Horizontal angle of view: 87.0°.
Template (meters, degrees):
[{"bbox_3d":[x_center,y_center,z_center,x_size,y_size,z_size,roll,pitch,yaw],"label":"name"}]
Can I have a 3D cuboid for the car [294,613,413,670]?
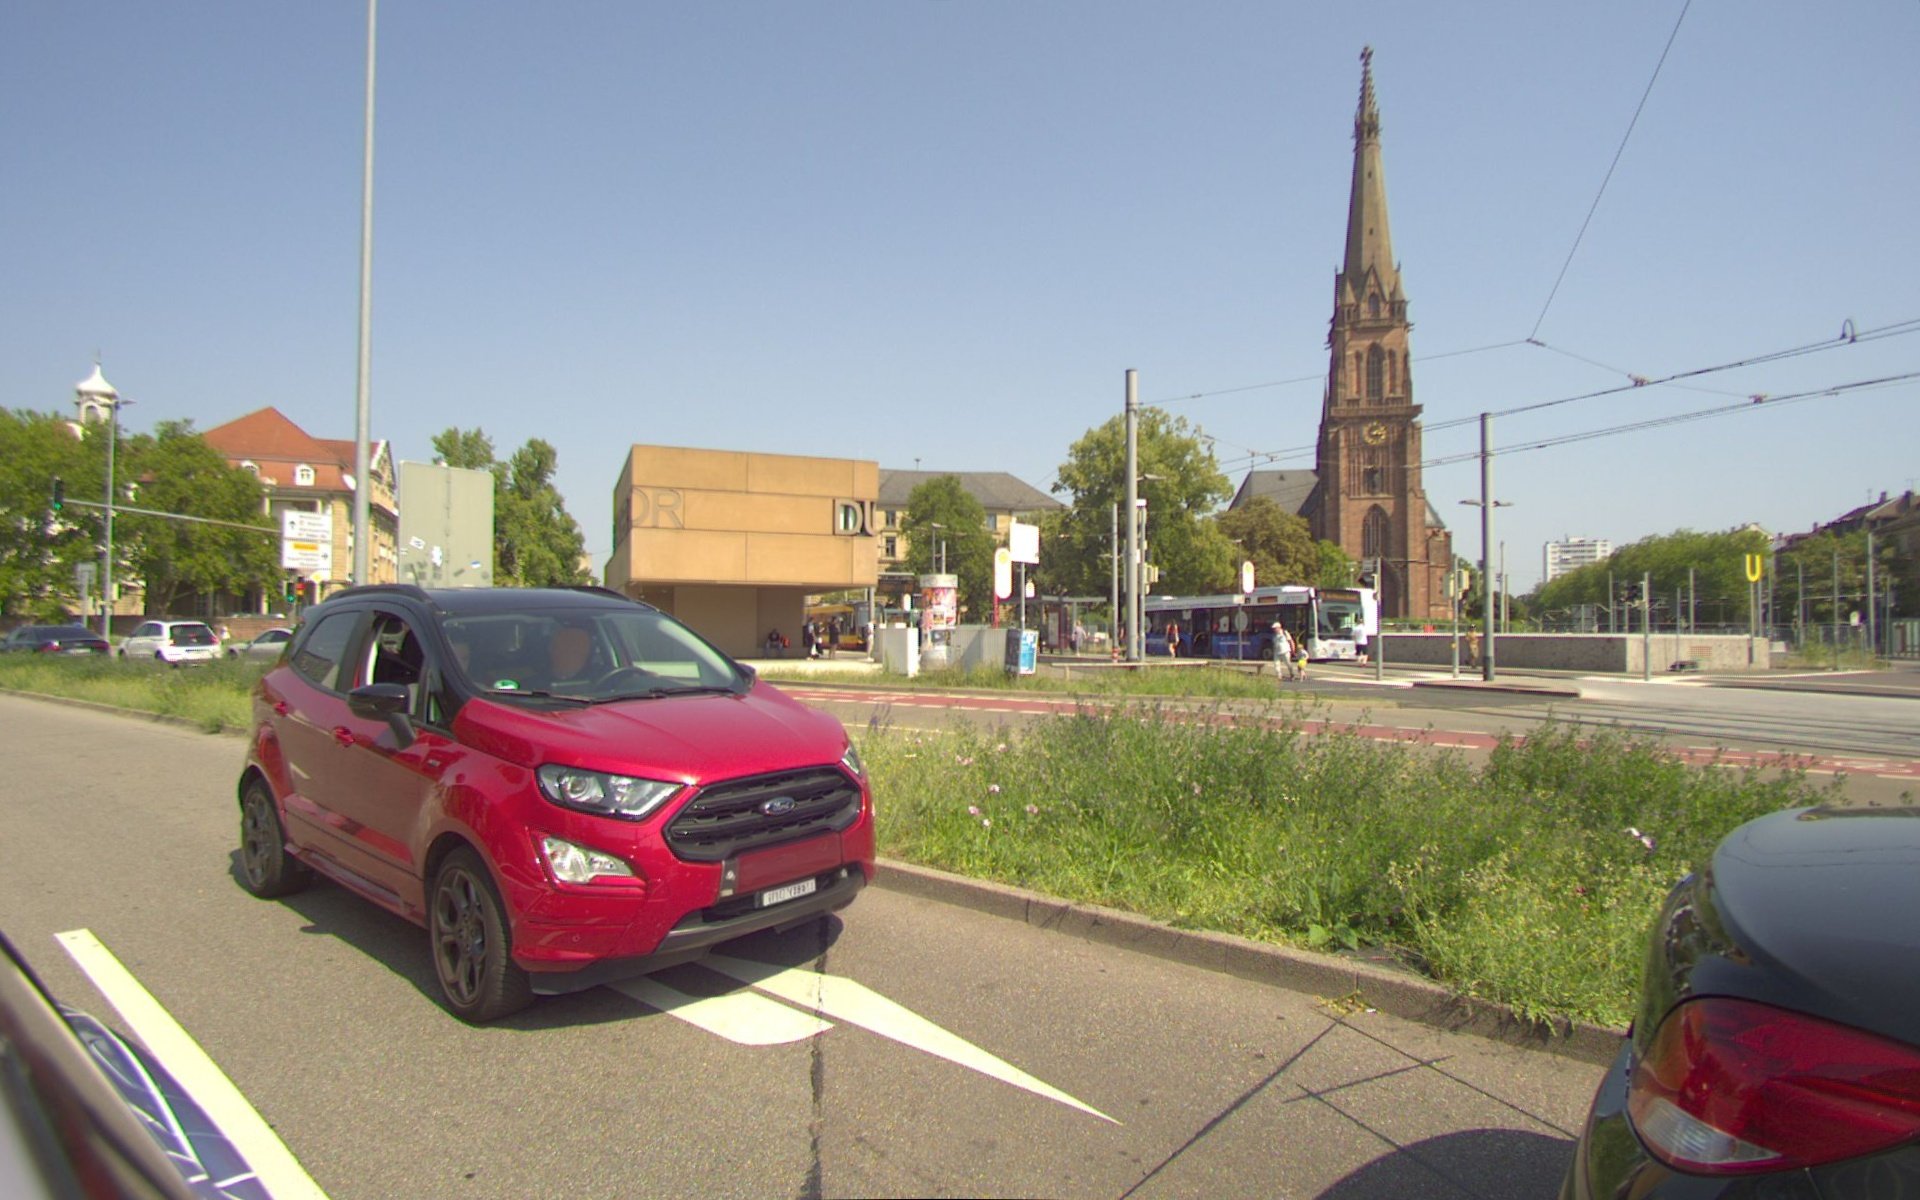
[{"bbox_3d":[-21.254,1.416,35.441,3.898,1.868,1.851,0,-2,29],"label":"car"}]

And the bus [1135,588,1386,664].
[{"bbox_3d":[12.069,1.143,42.809,3.346,2.733,12.382,1,-2,-21],"label":"bus"}]

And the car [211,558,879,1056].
[{"bbox_3d":[-2.347,0.698,5.176,3.844,1.598,1.672,-2,-1,42],"label":"car"}]

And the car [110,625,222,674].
[{"bbox_3d":[-25.323,1.563,32.266,3.460,1.490,1.512,-1,-2,27],"label":"car"}]

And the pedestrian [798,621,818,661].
[{"bbox_3d":[-5.877,1.587,39.068,0.541,1.508,0.532,-1,-3,39],"label":"pedestrian"}]

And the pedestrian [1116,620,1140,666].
[{"bbox_3d":[6.817,1.731,41.077,0.792,1.837,0.535,1,-2,-21],"label":"pedestrian"}]

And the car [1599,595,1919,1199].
[{"bbox_3d":[2.692,0.661,0.435,1.745,1.398,3.783,0,-1,-45],"label":"car"}]

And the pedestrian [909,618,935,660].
[{"bbox_3d":[-1.398,1.432,37.403,0.605,1.508,0.761,-1,-3,39],"label":"pedestrian"}]

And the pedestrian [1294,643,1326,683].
[{"bbox_3d":[10.163,1.822,29.424,0.591,1.134,0.640,-1,0,-23],"label":"pedestrian"}]

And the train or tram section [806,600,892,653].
[{"bbox_3d":[-8.184,1.950,72.412,2.658,3.465,13.464,1,-2,-21],"label":"train or tram section"}]

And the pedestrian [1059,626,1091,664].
[{"bbox_3d":[5.217,2.045,46.095,1.060,1.709,1.068,1,-2,-21],"label":"pedestrian"}]

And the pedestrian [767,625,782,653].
[{"bbox_3d":[-7.443,1.572,40.612,0.530,1.108,0.543,1,-2,-18],"label":"pedestrian"}]

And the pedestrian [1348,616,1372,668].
[{"bbox_3d":[14.303,1.498,36.172,0.638,1.825,0.593,-1,0,41],"label":"pedestrian"}]

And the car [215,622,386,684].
[{"bbox_3d":[-18.439,1.440,28.261,4.693,1.597,1.981,-1,-2,28],"label":"car"}]

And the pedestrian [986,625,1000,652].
[{"bbox_3d":[1.768,2.076,54.472,0.546,1.405,0.535,1,-2,-21],"label":"pedestrian"}]

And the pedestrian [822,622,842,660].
[{"bbox_3d":[-5.053,1.619,39.916,0.541,1.508,0.532,-1,-3,39],"label":"pedestrian"}]

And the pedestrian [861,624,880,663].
[{"bbox_3d":[-3.527,1.710,39.909,0.541,1.508,0.532,-1,-3,39],"label":"pedestrian"}]

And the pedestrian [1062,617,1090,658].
[{"bbox_3d":[5.273,1.714,46.136,0.913,1.837,0.940,1,-2,-21],"label":"pedestrian"}]

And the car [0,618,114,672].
[{"bbox_3d":[-25.749,1.257,28.838,3.466,1.437,1.510,-1,-2,32],"label":"car"}]

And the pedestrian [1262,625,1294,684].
[{"bbox_3d":[9.353,1.589,29.776,0.681,1.724,0.538,1,-2,-21],"label":"pedestrian"}]

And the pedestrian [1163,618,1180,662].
[{"bbox_3d":[8.766,1.652,41.979,0.632,1.825,0.599,-1,0,16],"label":"pedestrian"}]
